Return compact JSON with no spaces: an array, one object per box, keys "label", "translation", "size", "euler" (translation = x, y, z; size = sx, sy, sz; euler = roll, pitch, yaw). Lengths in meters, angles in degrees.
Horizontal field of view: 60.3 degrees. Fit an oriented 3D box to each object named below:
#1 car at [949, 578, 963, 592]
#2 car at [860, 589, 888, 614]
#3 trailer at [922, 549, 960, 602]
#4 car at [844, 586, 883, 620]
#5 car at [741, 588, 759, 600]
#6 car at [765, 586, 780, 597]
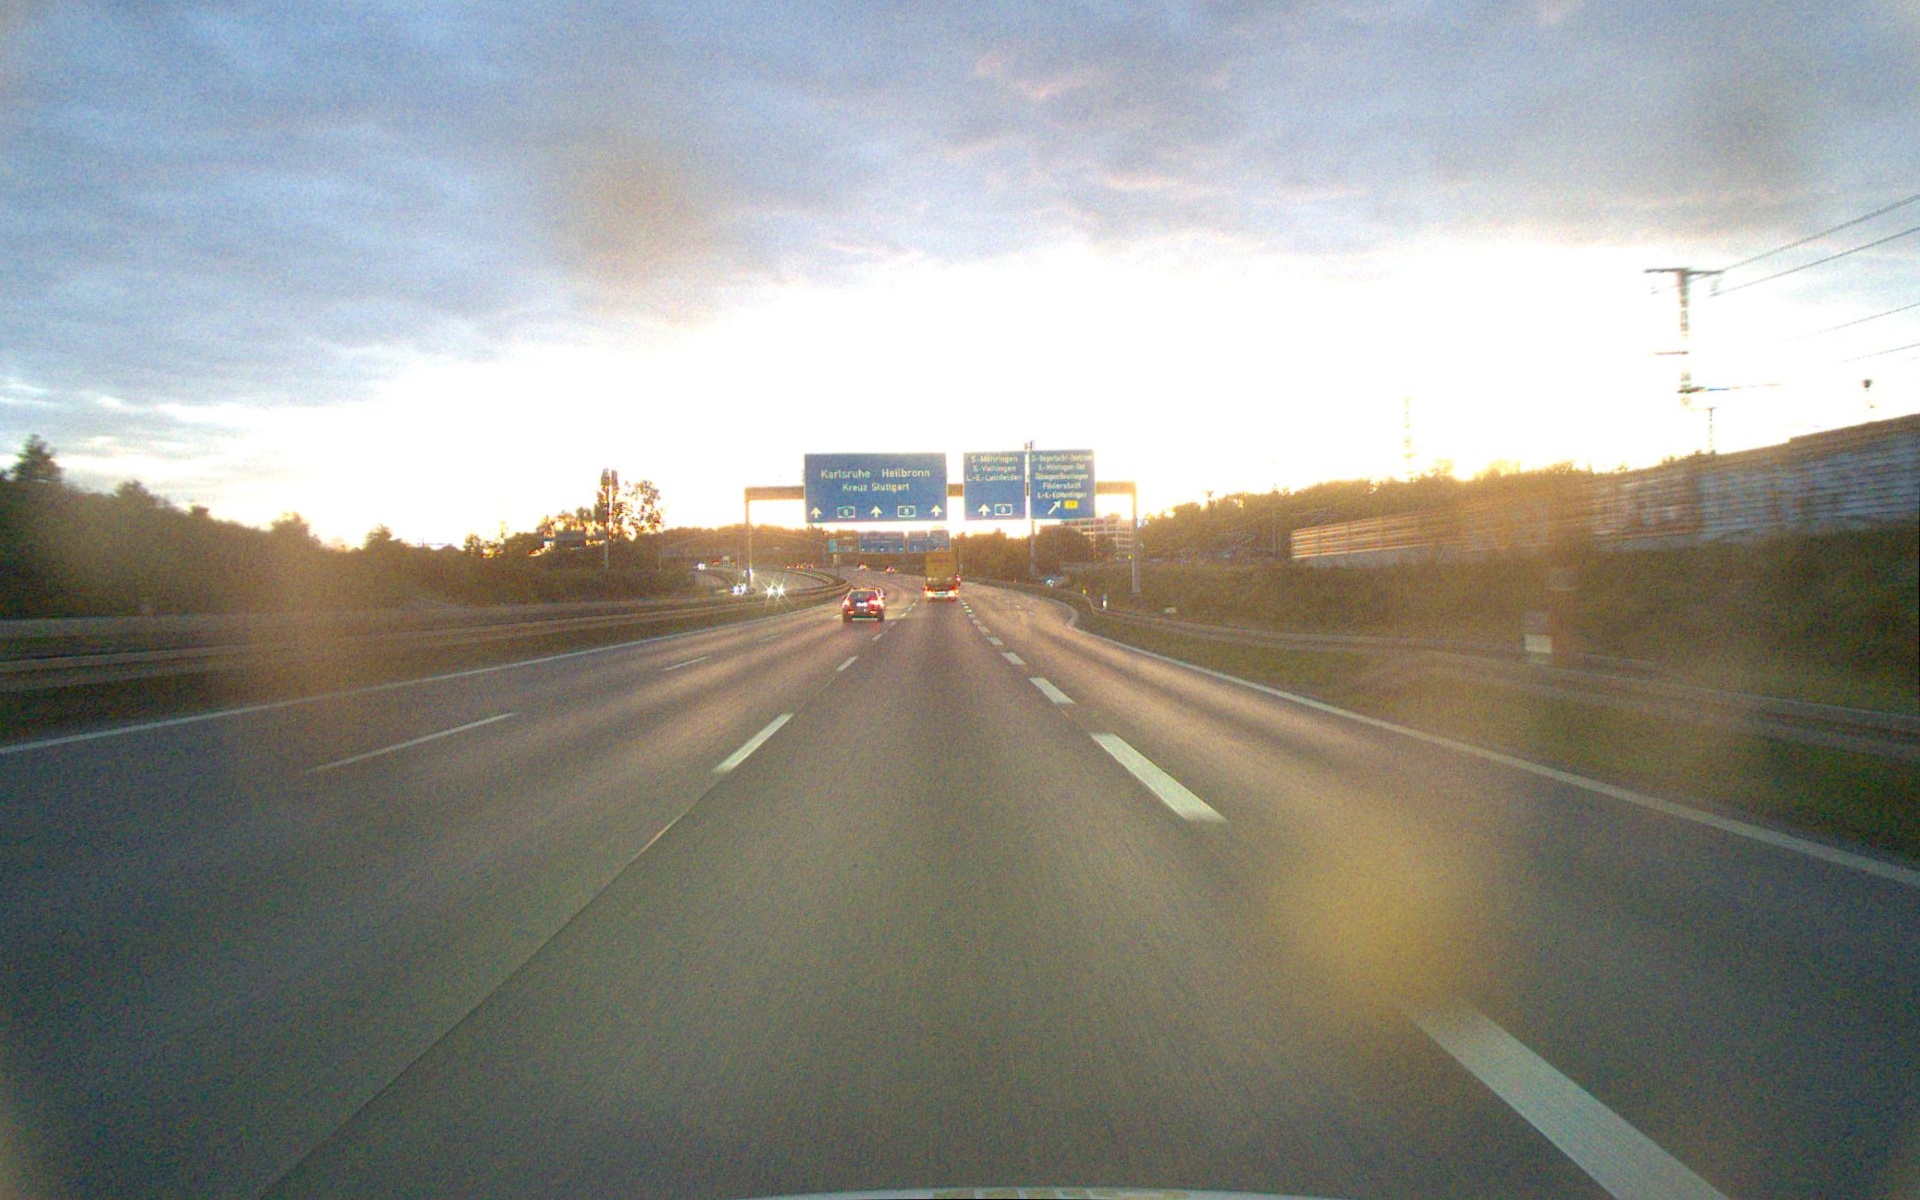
[{"label":"car","translation":[-0.620,-2.218,244.844],"size":[1.954,1.881,3.997],"euler":[1,-1,-3]},{"label":"car","translation":[-5.543,0.094,106.487],"size":[1.656,1.425,3.407],"euler":[-4,0,-2]},{"label":"trailer","translation":[-1.621,-2.127,137.553],"size":[2.668,4.141,8.827],"euler":[-3,2,-3]},{"label":"car","translation":[-4.464,0.140,75.996],"size":[1.656,1.425,3.405],"euler":[-3,0,-4]},{"label":"car","translation":[-24.846,-0.694,195.907],"size":[1.655,1.426,4.428],"euler":[1,-1,-1]},{"label":"car","translation":[-25.971,-1.185,229.593],"size":[1.655,1.426,4.428],"euler":[1,-1,-1]}]
